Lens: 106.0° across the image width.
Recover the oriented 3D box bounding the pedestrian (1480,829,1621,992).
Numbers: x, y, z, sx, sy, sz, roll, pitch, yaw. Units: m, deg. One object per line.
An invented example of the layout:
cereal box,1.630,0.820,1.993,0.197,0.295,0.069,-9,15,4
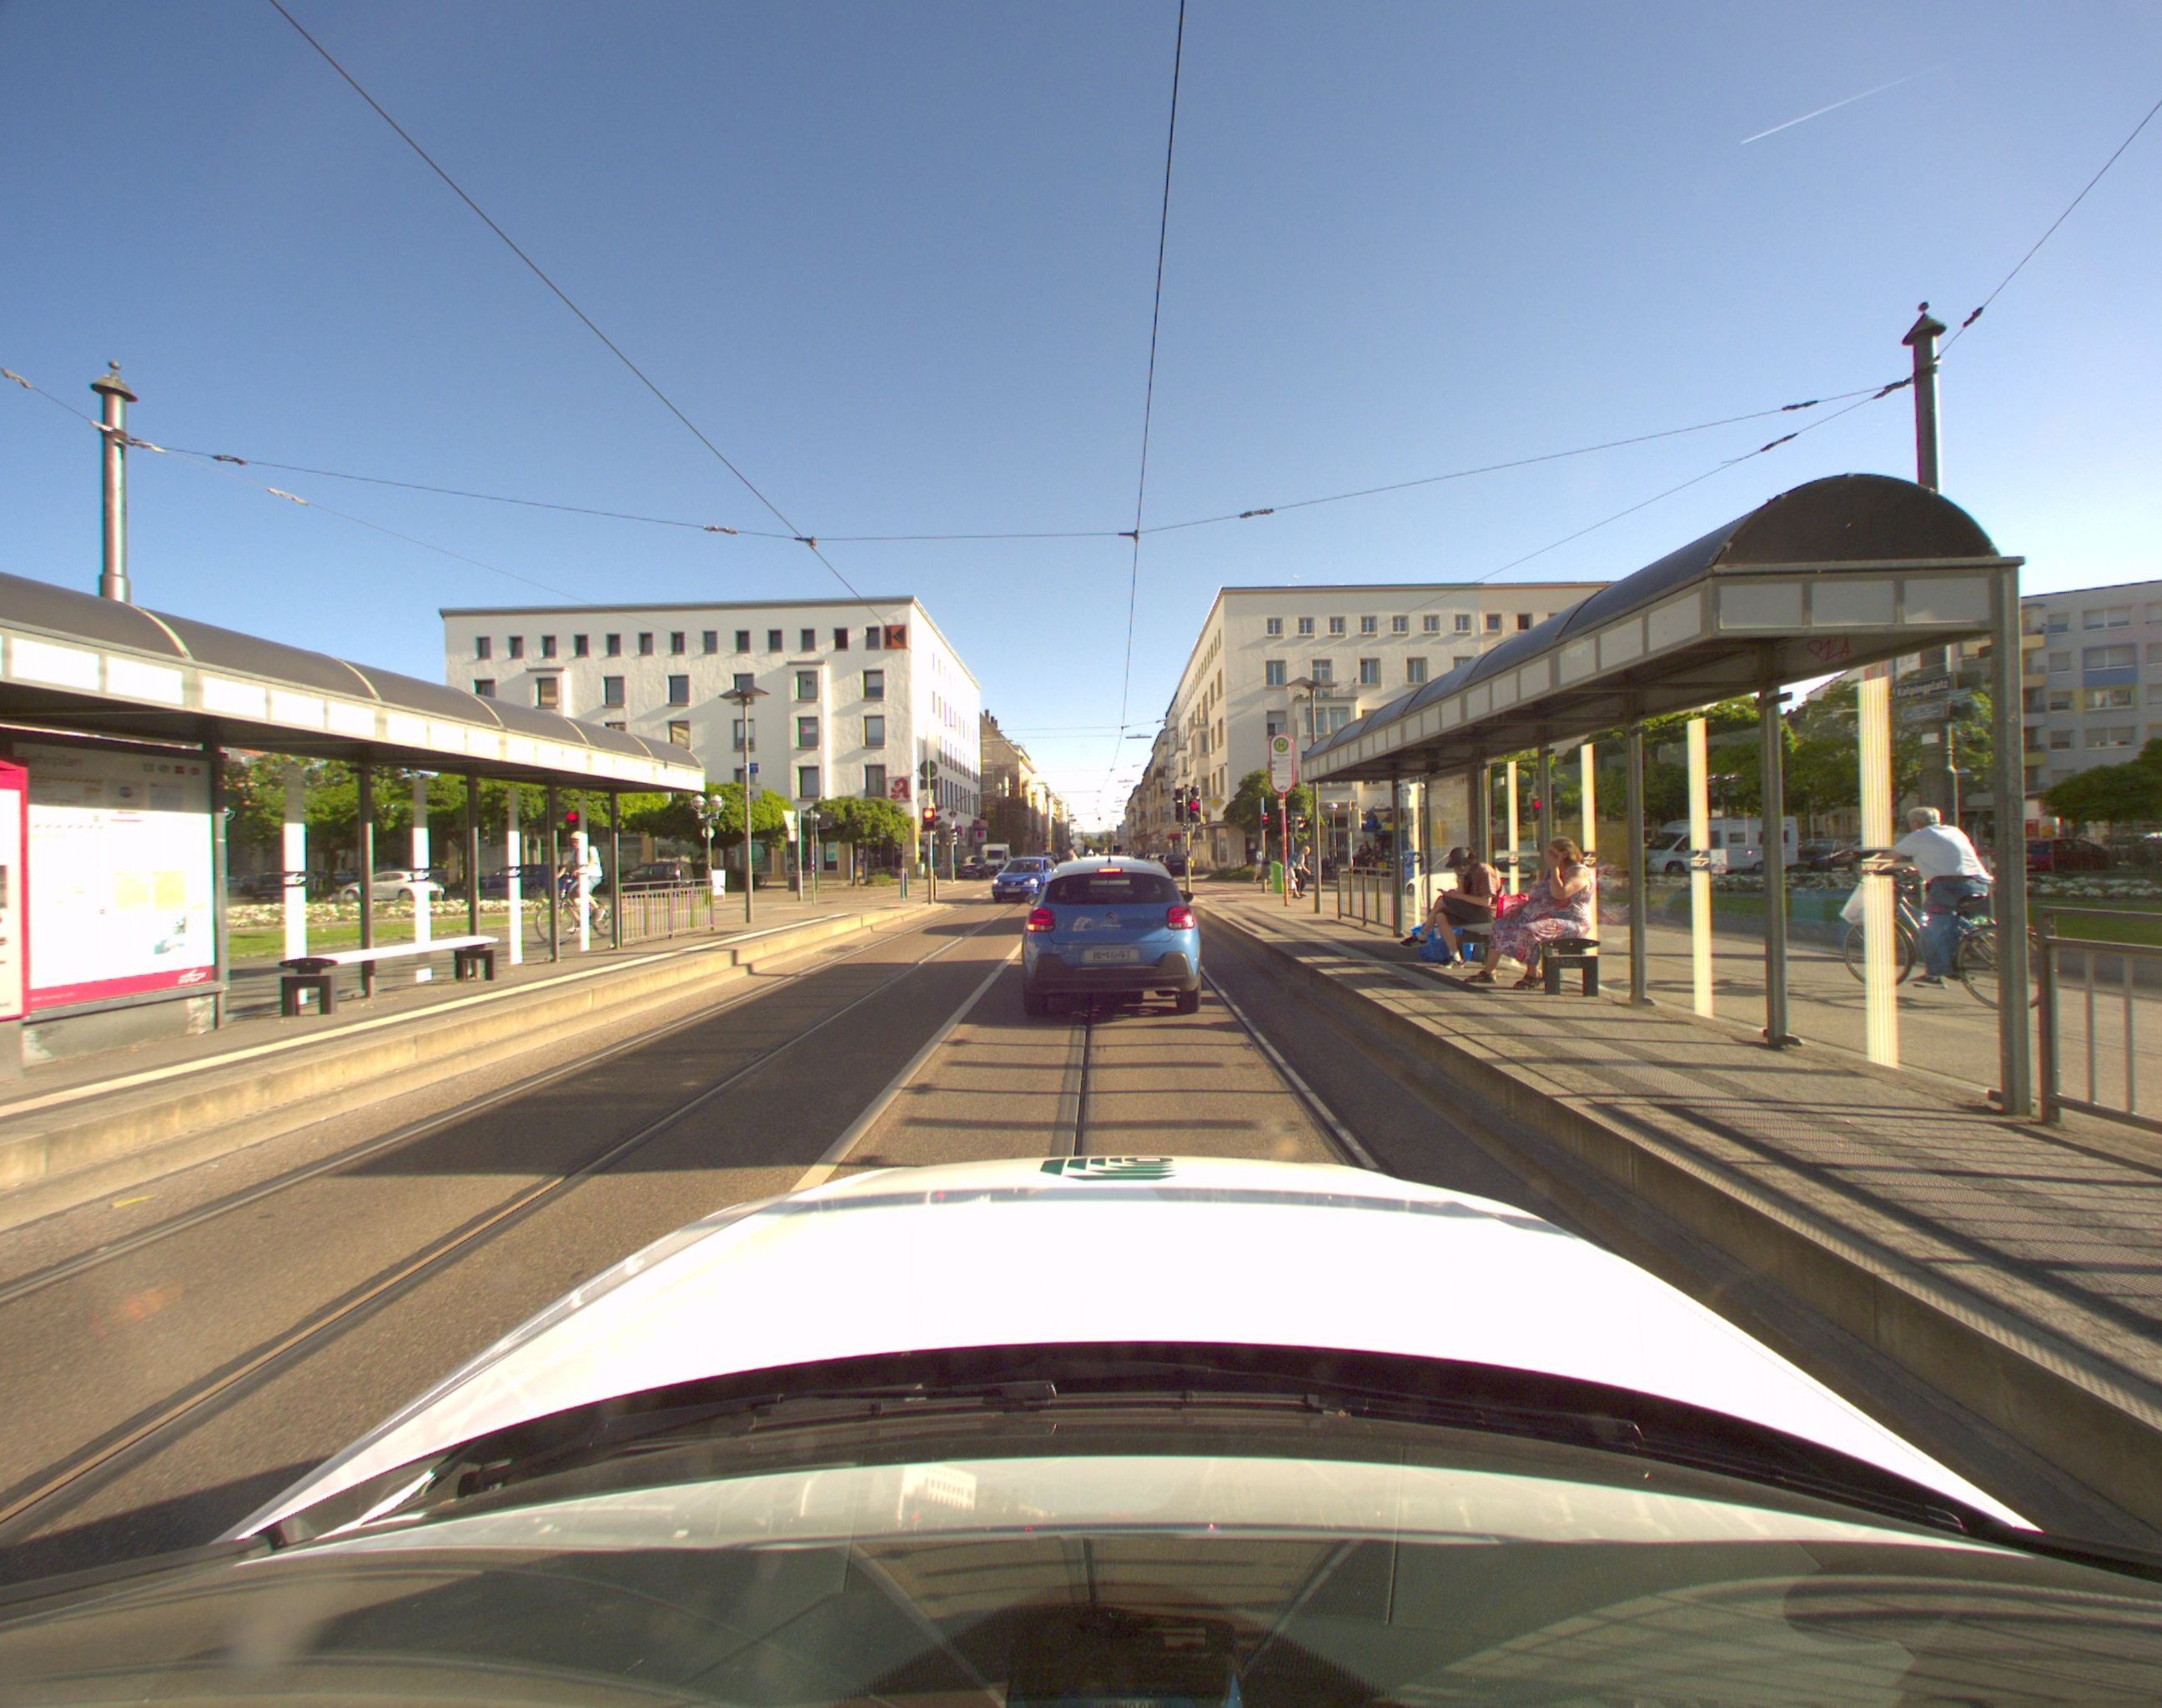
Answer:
pedestrian,4.065,0.468,7.096,0.855,1.334,0.623,2,-1,1

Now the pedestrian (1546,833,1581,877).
pedestrian,17.720,0.049,29.915,0.897,1.585,0.663,-1,0,5

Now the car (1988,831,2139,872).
car,38.794,-0.084,32.212,3.983,1.486,1.995,-1,0,-7

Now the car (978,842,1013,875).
car,-6.903,0.348,66.309,2.078,2.542,6.206,0,0,1

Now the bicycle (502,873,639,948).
bicycle,-8.671,0.931,13.949,0.706,1.126,2.043,-1,0,14

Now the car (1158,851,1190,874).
car,6.317,0.558,55.554,1.902,1.464,4.003,-1,0,2

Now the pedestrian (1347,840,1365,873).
pedestrian,15.341,0.141,45.417,0.781,1.839,0.679,-1,0,5

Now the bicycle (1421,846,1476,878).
bicycle,17.885,0.386,39.675,2.376,1.531,0.726,0,0,0

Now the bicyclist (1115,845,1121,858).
bicyclist,5.824,-0.362,128.119,0.806,2.014,0.923,0,-1,1

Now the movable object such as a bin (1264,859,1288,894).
movable object such as a bin,4.477,0.503,18.689,0.447,0.786,0.489,-1,0,4

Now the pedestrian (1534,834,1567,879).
pedestrian,18.024,0.088,31.283,0.896,1.685,0.697,-1,0,11

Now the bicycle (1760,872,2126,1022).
bicycle,7.472,0.724,7.297,0.717,1.061,2.319,0,0,-5

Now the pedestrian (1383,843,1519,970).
pedestrian,3.827,0.522,8.506,0.995,1.225,0.923,1,-1,2

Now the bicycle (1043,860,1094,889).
bicycle,-0.501,0.836,33.770,1.979,1.113,0.725,-1,0,-23

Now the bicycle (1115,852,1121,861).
bicycle,5.802,0.418,127.965,0.916,1.389,3.133,-1,0,2

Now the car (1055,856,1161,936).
car,0.579,0.789,17.667,1.977,1.464,4.817,0,0,2

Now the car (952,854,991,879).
car,-7.454,0.849,55.952,1.987,1.569,4.403,2,0,1

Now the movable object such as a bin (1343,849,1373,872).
movable object such as a bin,14.691,0.325,43.199,1.194,1.153,1.218,-1,0,2

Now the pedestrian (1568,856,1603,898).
pedestrian,19.354,0.878,31.263,0.897,1.585,0.663,-1,0,5

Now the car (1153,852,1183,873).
car,6.361,0.600,59.912,1.985,1.464,4.003,-1,0,2

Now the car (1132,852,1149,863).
car,7.677,0.444,105.254,1.985,1.464,4.507,-1,0,2

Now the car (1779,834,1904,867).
car,36.844,-0.136,39.548,3.959,1.511,2.007,-1,-1,13

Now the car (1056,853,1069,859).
car,-4.284,0.441,188.485,1.980,1.156,4.528,-2,0,11

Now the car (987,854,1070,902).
car,-1.696,0.764,27.608,1.655,1.487,4.015,-1,0,14

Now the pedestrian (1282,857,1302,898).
pedestrian,6.453,0.716,24.918,0.554,1.225,0.528,-1,-1,12

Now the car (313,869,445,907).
car,-33.343,1.587,38.779,4.591,1.606,1.855,-1,0,-1

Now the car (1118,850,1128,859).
car,9.107,0.089,177.044,1.986,1.772,4.002,-1,0,2

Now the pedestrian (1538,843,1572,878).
pedestrian,17.785,0.226,30.568,0.896,1.279,0.606,-1,0,9

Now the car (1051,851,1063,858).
car,-4.543,0.127,155.562,1.985,1.156,4.003,-1,0,2

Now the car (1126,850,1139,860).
car,8.602,0.165,136.270,1.985,1.464,4.003,-1,0,2

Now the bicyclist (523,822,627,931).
bicyclist,-8.690,0.379,14.021,0.996,1.793,1.099,-1,0,13

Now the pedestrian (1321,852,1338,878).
pedestrian,12.863,0.575,42.106,0.733,1.316,0.631,-1,0,25

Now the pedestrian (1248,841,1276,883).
pedestrian,8.436,0.378,38.026,0.978,1.878,1.128,-1,-1,0

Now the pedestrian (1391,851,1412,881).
pedestrian,15.719,0.566,39.965,0.727,1.409,0.755,-1,3,2

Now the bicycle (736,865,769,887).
bicycle,-18.922,1.237,46.923,0.615,1.190,2.624,-1,0,5

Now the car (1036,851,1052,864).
car,-5.934,0.498,130.522,1.997,2.014,4.694,0,-1,4

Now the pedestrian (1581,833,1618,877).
pedestrian,18.871,0.038,29.647,0.897,1.585,0.663,-1,0,5

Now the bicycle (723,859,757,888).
bicycle,-19.646,1.100,46.966,0.614,1.607,2.625,-1,0,6

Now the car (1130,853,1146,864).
car,7.878,0.614,112.851,1.986,1.552,4.002,-1,0,2

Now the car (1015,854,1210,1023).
car,0.338,0.752,9.136,1.721,1.482,3.828,0,0,2

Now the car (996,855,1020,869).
car,-7.262,0.779,81.676,1.987,1.398,4.157,0,0,1

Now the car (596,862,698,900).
car,-21.073,1.284,39.652,3.972,1.706,1.826,-1,0,1

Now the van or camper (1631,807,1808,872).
van or camper,30.283,-0.645,38.826,6.374,2.839,2.381,-1,0,5

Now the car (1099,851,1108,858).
car,5.607,0.115,200.606,1.988,1.778,3.997,-1,0,-2

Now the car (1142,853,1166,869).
car,6.820,0.629,76.534,1.985,1.464,4.003,-1,0,2

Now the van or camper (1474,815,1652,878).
van or camper,23.022,-0.379,39.165,7.093,2.747,2.372,-1,1,2

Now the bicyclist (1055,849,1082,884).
bicyclist,-0.536,0.514,33.757,0.878,1.455,0.824,0,-1,-23

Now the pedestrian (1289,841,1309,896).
pedestrian,6.977,0.462,26.076,0.554,1.745,0.528,-1,-1,12

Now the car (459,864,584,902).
car,-27.015,1.362,39.423,4.591,1.662,1.999,-1,0,-1

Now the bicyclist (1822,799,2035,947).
bicyclist,7.503,0.154,7.261,0.949,1.225,0.932,0,0,-5
